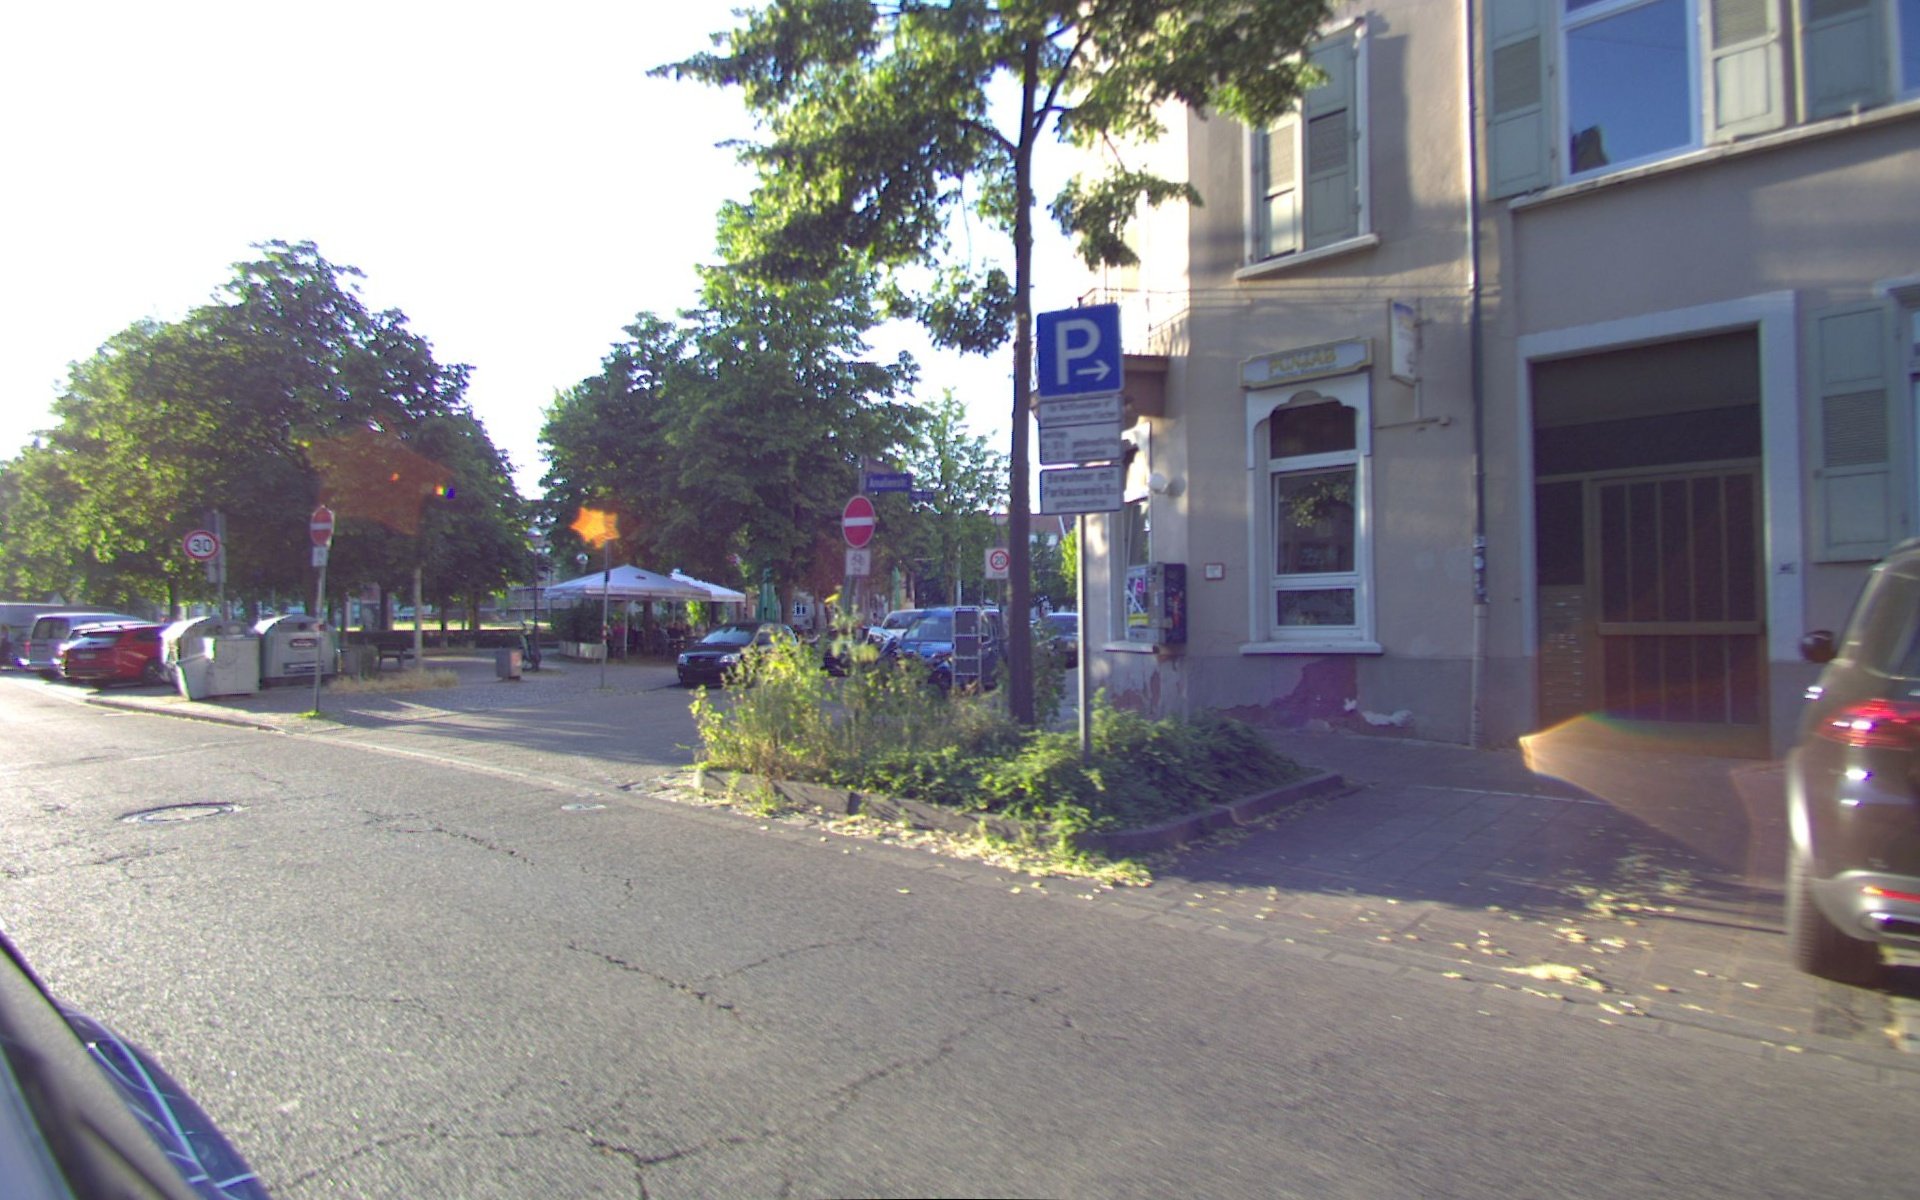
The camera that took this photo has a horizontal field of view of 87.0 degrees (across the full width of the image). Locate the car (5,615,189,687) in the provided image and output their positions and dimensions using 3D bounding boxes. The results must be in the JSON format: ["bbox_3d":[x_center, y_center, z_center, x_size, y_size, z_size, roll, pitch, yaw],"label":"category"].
[{"bbox_3d":[-25.402,1.446,29.995,1.848,1.892,3.993,-2,-1,5],"label":"car"}]

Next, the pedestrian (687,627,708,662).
[{"bbox_3d":[-8.978,1.510,34.582,0.527,1.183,0.527,2,-4,-41],"label":"pedestrian"}]

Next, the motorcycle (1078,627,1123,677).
[{"bbox_3d":[3.721,1.338,26.659,0.680,1.195,2.310,-2,-1,20],"label":"motorcycle"}]

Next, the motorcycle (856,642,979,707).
[{"bbox_3d":[-0.759,1.326,18.319,2.062,1.038,0.749,-1,-1,-27],"label":"motorcycle"}]

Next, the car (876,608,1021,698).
[{"bbox_3d":[-0.105,1.055,21.575,1.942,1.690,4.411,-2,-1,15],"label":"car"}]

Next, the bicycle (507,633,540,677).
[{"bbox_3d":[-11.189,1.405,25.927,0.355,1.076,1.814,-1,-1,-37],"label":"bicycle"}]

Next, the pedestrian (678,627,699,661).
[{"bbox_3d":[-9.385,1.527,35.022,0.527,1.183,0.527,2,-4,-41],"label":"pedestrian"}]

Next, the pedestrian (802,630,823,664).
[{"bbox_3d":[-5.233,1.668,35.853,0.527,1.183,0.527,2,-4,-41],"label":"pedestrian"}]

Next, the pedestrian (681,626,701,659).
[{"bbox_3d":[-9.871,1.561,37.165,0.527,1.183,0.527,0,-2,-41],"label":"pedestrian"}]

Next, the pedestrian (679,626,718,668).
[{"bbox_3d":[-7.824,1.406,30.287,0.850,1.208,0.787,-2,-4,37],"label":"pedestrian"}]

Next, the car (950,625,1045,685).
[{"bbox_3d":[1.090,1.446,27.592,1.529,1.422,3.814,-2,-1,19],"label":"car"}]

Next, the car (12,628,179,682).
[{"bbox_3d":[-27.574,1.712,32.463,1.825,1.503,3.996,-2,0,3],"label":"car"}]

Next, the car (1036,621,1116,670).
[{"bbox_3d":[3.937,1.493,33.839,1.824,1.451,3.957,-2,-1,19],"label":"car"}]

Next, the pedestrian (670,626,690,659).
[{"bbox_3d":[-10.376,1.567,37.529,0.527,1.183,0.527,0,-2,-41],"label":"pedestrian"}]

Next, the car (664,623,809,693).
[{"bbox_3d":[-5.048,1.285,23.298,1.693,1.391,3.504,-2,-1,19],"label":"car"}]

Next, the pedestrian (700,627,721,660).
[{"bbox_3d":[-9.119,1.569,36.981,0.527,1.183,0.527,0,-2,-41],"label":"pedestrian"}]

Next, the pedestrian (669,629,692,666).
[{"bbox_3d":[-9.080,1.544,32.850,0.527,1.164,0.527,3,-4,-41],"label":"pedestrian"}]

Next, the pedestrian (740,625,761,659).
[{"bbox_3d":[-7.398,1.500,35.798,0.527,1.183,0.527,2,-4,-41],"label":"pedestrian"}]

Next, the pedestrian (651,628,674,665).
[{"bbox_3d":[-9.543,1.499,32.453,0.527,1.164,0.527,2,-4,-41],"label":"pedestrian"}]

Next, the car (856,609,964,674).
[{"bbox_3d":[-1.617,1.371,34.717,2.027,2.002,4.802,-2,-1,19],"label":"car"}]

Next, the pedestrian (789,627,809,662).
[{"bbox_3d":[-5.886,1.621,36.979,0.527,1.286,0.527,2,-4,-41],"label":"pedestrian"}]

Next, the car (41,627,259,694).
[{"bbox_3d":[-20.245,1.470,25.528,1.979,1.497,3.984,-1,-1,12],"label":"car"}]

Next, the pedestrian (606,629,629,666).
[{"bbox_3d":[-11.234,1.563,33.204,0.572,1.181,0.535,1,-2,-41],"label":"pedestrian"}]

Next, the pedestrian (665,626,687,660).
[{"bbox_3d":[-9.920,1.494,35.349,0.527,1.183,0.527,2,-4,-41],"label":"pedestrian"}]

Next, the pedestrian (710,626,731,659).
[{"bbox_3d":[-8.666,1.529,36.634,0.527,1.183,0.527,2,-4,-41],"label":"pedestrian"}]

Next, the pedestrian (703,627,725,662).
[{"bbox_3d":[-8.326,1.497,34.217,0.527,1.183,0.527,2,-4,-41],"label":"pedestrian"}]

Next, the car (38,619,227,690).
[{"bbox_3d":[-22.713,1.440,27.989,1.728,1.709,3.994,-2,0,5],"label":"car"}]

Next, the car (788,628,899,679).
[{"bbox_3d":[-3.237,1.483,28.900,1.814,1.247,3.751,-2,-1,16],"label":"car"}]

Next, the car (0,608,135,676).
[{"bbox_3d":[-33.171,1.478,36.744,2.182,2.268,4.592,-2,0,14],"label":"car"}]

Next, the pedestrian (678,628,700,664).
[{"bbox_3d":[-9.036,1.526,33.796,0.527,1.183,0.527,2,-4,-41],"label":"pedestrian"}]

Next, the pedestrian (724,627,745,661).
[{"bbox_3d":[-8.080,1.573,36.230,0.527,1.183,0.527,2,-4,-41],"label":"pedestrian"}]

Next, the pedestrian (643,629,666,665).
[{"bbox_3d":[-9.926,1.518,32.863,0.527,1.163,0.527,2,-4,-41],"label":"pedestrian"}]

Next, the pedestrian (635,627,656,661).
[{"bbox_3d":[-11.174,1.567,35.979,0.527,1.225,0.527,2,-4,-41],"label":"pedestrian"}]

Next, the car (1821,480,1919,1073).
[{"bbox_3d":[5.022,0.506,4.297,2.032,1.849,4.403,-2,-1,41],"label":"car"}]

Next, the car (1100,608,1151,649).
[{"bbox_3d":[8.681,1.453,52.767,1.984,2.029,3.975,-2,-1,19],"label":"car"}]

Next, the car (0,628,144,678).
[{"bbox_3d":[-30.370,1.765,34.526,1.856,1.479,4.000,-2,-1,-1],"label":"car"}]
